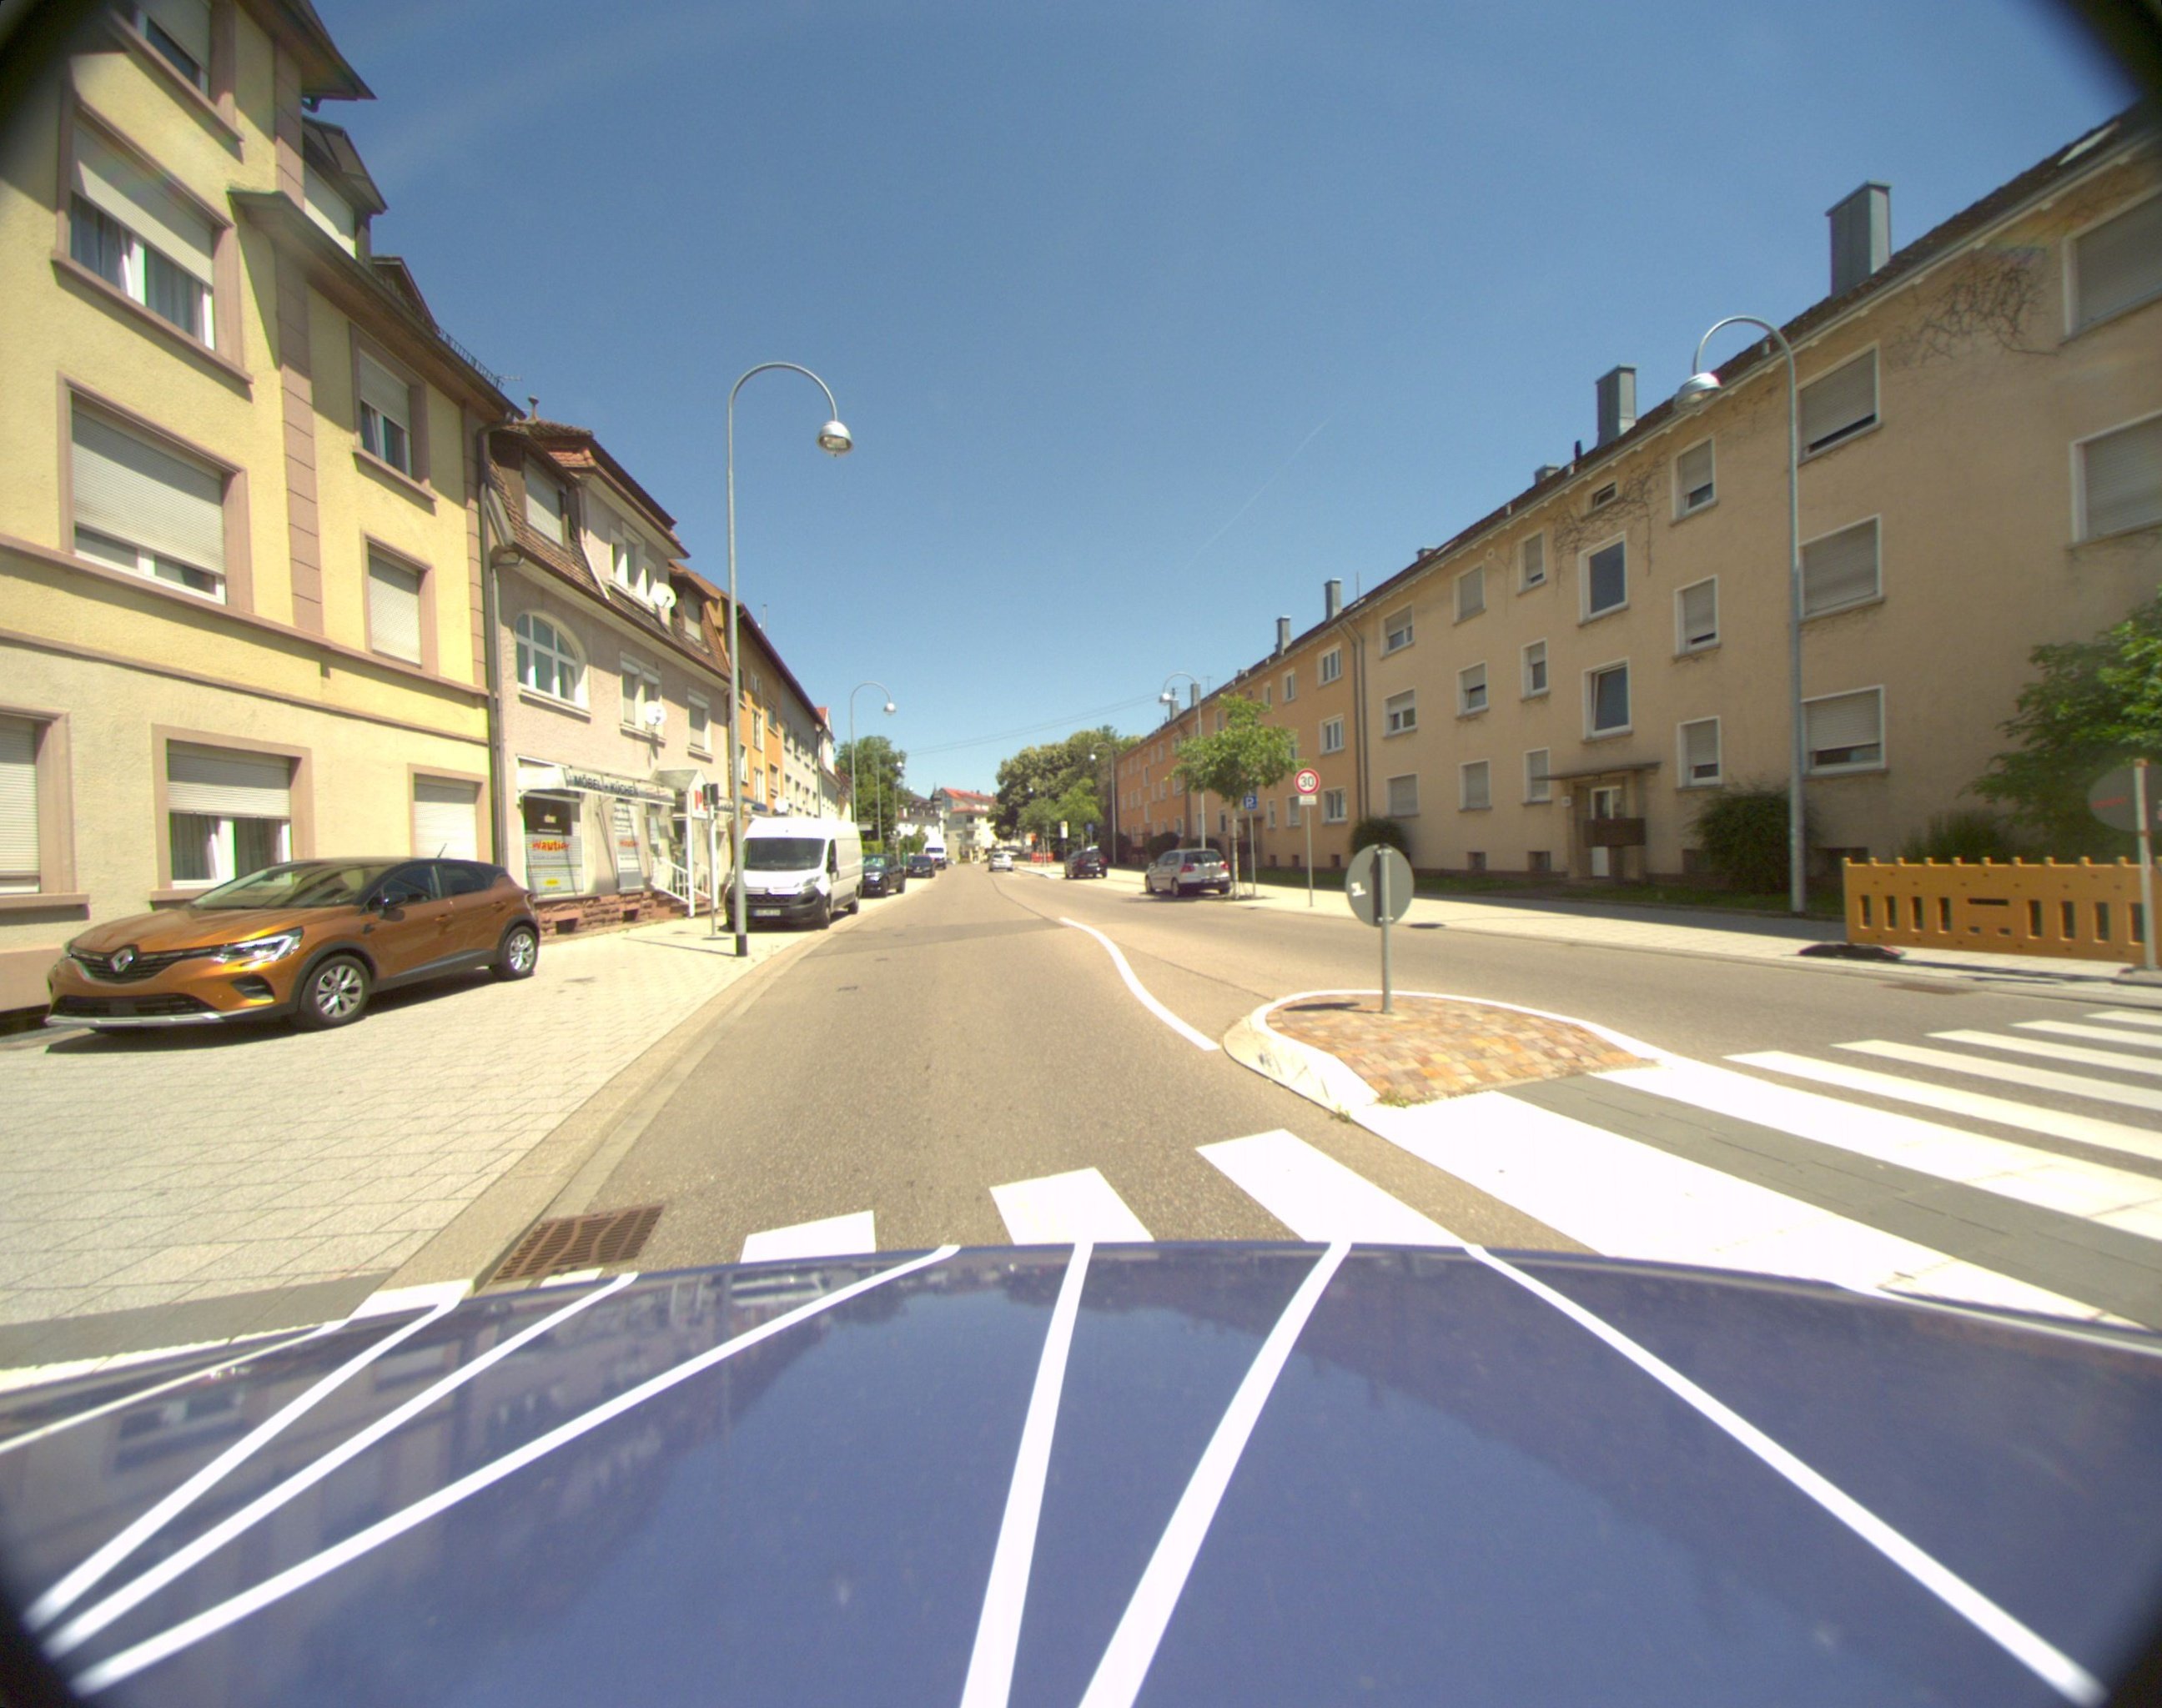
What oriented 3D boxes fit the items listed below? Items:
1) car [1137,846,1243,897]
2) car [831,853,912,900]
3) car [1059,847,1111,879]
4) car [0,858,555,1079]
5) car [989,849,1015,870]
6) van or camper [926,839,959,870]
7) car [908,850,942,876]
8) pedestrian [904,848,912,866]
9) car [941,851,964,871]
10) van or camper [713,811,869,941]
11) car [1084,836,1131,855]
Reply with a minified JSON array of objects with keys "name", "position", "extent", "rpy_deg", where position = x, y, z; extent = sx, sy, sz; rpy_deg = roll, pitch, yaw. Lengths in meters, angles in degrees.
[{"name":"car","position":[3.429,0.534,24.777],"extent":[2.001,1.412,4.083],"rpy_deg":[-3,1,-14]},{"name":"car","position":[-7.928,0.798,29.140],"extent":[1.900,1.598,4.363],"rpy_deg":[0,1,-1]},{"name":"car","position":[0.158,0.448,40.990],"extent":[1.863,1.498,4.558],"rpy_deg":[-4,1,-11]},{"name":"car","position":[-7.712,0.882,8.010],"extent":[1.678,1.610,4.360],"rpy_deg":[0,1,-7]},{"name":"car","position":[-6.168,0.422,58.933],"extent":[1.665,1.488,3.755],"rpy_deg":[-2,1,-11]},{"name":"van or camper","position":[-12.493,-0.030,68.157],"extent":[2.116,2.454,6.165],"rpy_deg":[-3,2,-17]},{"name":"car","position":[-10.070,0.542,49.298],"extent":[1.734,1.623,3.998],"rpy_deg":[0,0,-5]},{"name":"pedestrian","position":[-17.167,0.301,75.191],"extent":[0.522,1.696,0.802],"rpy_deg":[1,0,-30]},{"name":"car","position":[-10.663,0.571,62.880],"extent":[1.809,1.521,4.146],"rpy_deg":[-2,1,-10]},{"name":"van or camper","position":[-6.639,0.407,18.203],"extent":[2.172,2.574,5.761],"rpy_deg":[-1,1,-8]},{"name":"car","position":[2.696,-0.894,78.410],"extent":[4.442,1.863,1.816],"rpy_deg":[-1,1,-19]}]
